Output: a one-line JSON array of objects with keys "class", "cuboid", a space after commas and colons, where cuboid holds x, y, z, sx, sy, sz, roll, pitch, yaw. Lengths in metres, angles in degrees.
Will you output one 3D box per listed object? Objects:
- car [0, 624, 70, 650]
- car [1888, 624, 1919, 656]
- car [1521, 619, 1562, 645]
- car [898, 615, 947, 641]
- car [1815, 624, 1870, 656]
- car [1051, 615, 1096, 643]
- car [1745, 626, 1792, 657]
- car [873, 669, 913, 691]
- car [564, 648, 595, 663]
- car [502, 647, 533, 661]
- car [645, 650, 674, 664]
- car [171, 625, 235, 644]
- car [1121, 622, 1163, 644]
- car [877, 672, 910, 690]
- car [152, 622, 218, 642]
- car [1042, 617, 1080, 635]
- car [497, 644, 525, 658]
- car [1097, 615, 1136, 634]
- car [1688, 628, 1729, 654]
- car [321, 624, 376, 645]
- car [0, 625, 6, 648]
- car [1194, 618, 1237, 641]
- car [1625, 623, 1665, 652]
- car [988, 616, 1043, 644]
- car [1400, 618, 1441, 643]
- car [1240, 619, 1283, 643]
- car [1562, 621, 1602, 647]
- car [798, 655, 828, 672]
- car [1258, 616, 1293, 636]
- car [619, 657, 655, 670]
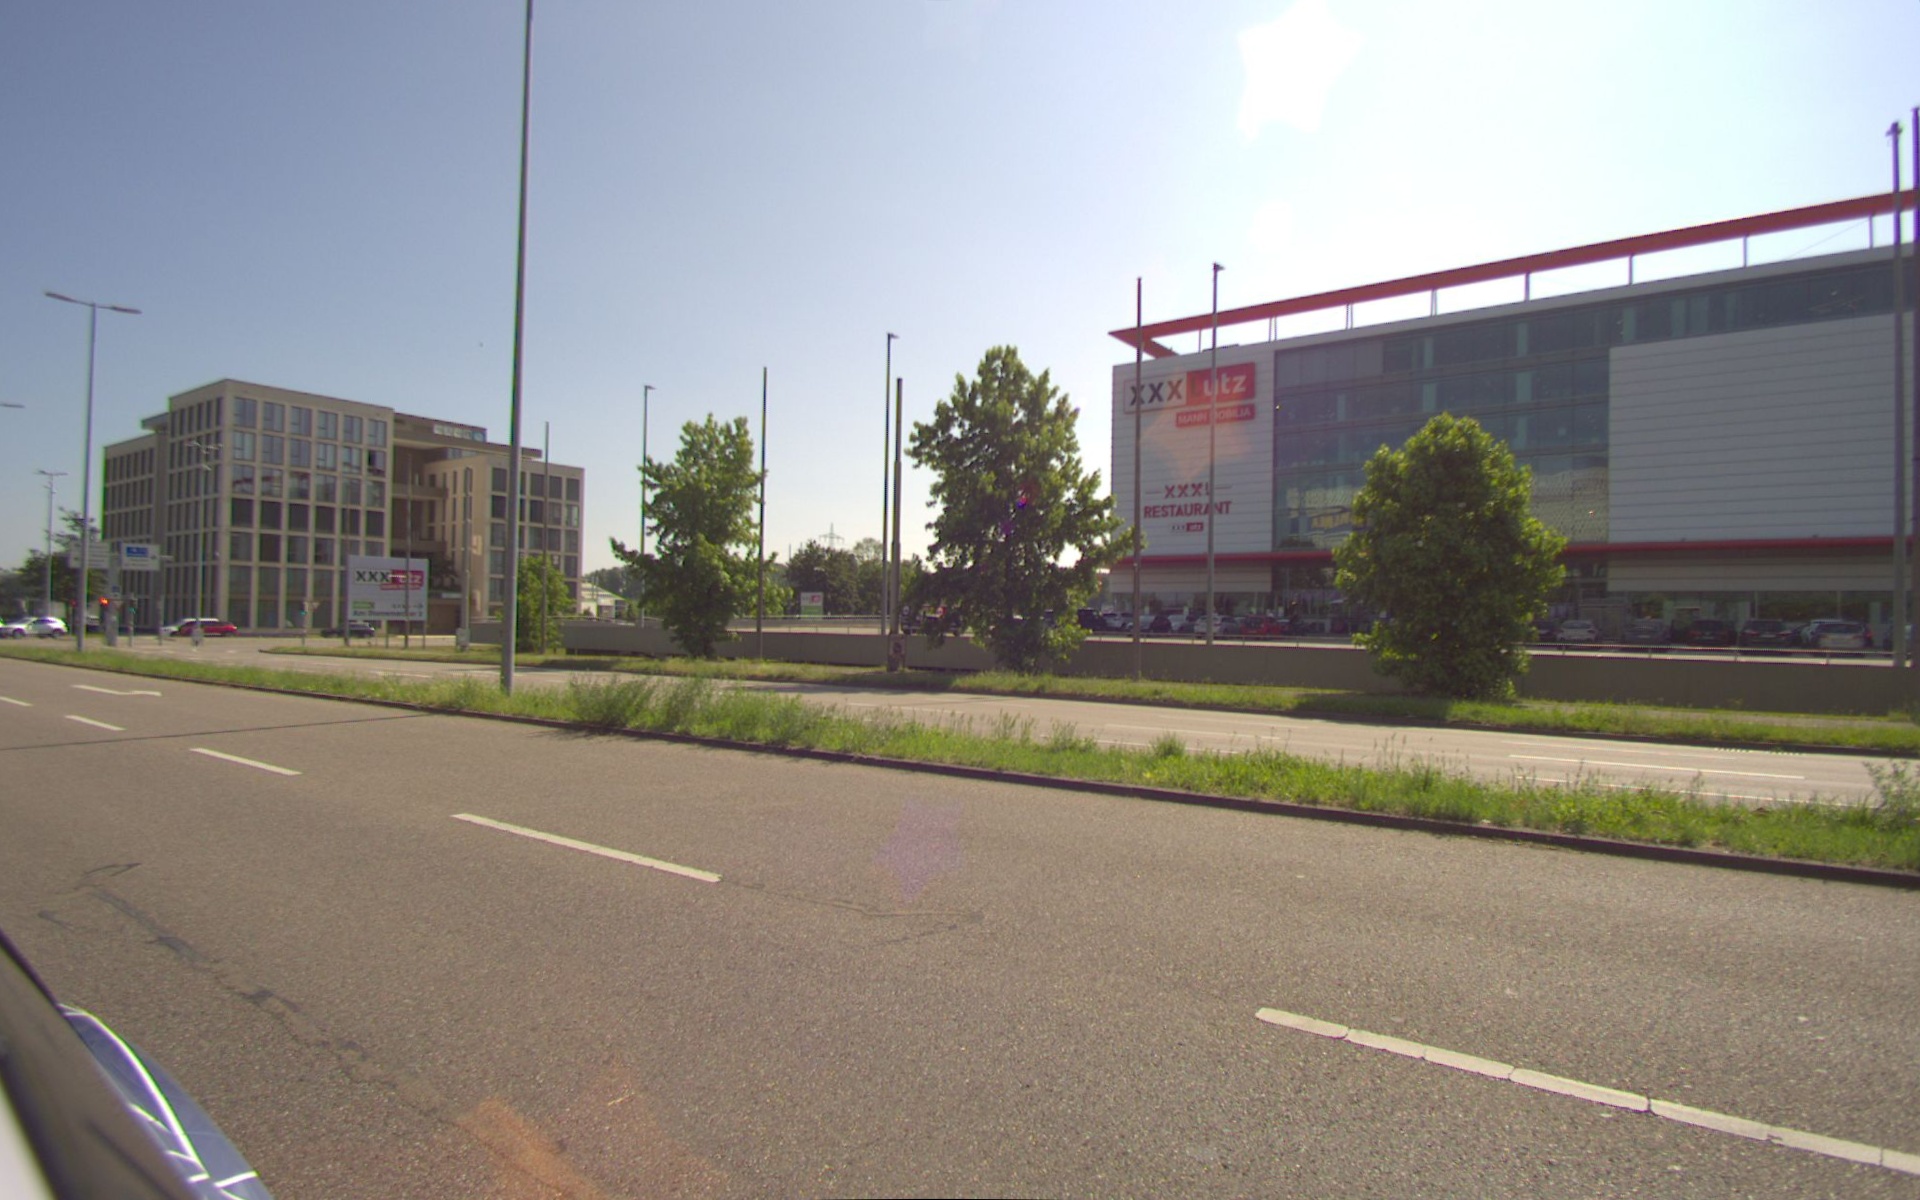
[{"class": "car", "cuboid": [-70.131, 2.789, 76.145, 2.016, 1.852, 4.272, 1, -1, 27]}, {"class": "car", "cuboid": [40.816, 1.710, 43.134, 1.513, 1.340, 3.060, 0, -1, 36]}, {"class": "car", "cuboid": [32.171, 1.763, 55.936, 1.626, 1.340, 3.632, 0, -1, 36]}, {"class": "car", "cuboid": [-2.317, 1.743, 62.729, 1.770, 1.568, 2.742, -2, -3, 36]}, {"class": "car", "cuboid": [38.924, 1.739, 44.688, 1.513, 1.340, 3.060, 0, -1, 36]}, {"class": "car", "cuboid": [7.675, 1.951, 68.250, 1.689, 1.771, 3.060, 0, -1, 36]}, {"class": "car", "cuboid": [36.603, 1.852, 45.882, 1.513, 1.303, 3.060, 0, -1, 36]}, {"class": "car", "cuboid": [-3.370, 4.044, 51.314, 1.068, 0.983, 1.920, 0, -1, 34]}, {"class": "car", "cuboid": [-25.968, 3.794, 69.047, 0.864, 0.983, 1.827, 0, -1, 34]}, {"class": "car", "cuboid": [-32.351, 3.928, 74.061, 0.888, 0.983, 1.919, -4, -4, 36]}, {"class": "car", "cuboid": [-21.993, 4.153, 74.043, 0.885, 0.983, 1.920, 0, -1, 35]}, {"class": "car", "cuboid": [-64.623, 2.938, 86.408, 1.527, 1.539, 4.071, -1, -2, 34]}, {"class": "car", "cuboid": [11.736, 2.098, 65.096, 1.513, 1.340, 3.060, 0, -1, 36]}, {"class": "car", "cuboid": [-4.106, 4.962, 62.282, 1.068, 0.983, 1.921, 0, -1, 33]}, {"class": "car", "cuboid": [-67.678, 2.823, 88.381, 1.900, 1.724, 4.181, -1, -2, 34]}, {"class": "car", "cuboid": [7.529, 1.939, 75.519, 1.513, 1.340, 2.984, 0, -1, 36]}, {"class": "car", "cuboid": [-28.938, 3.288, 65.249, 0.790, 0.889, 1.488, 0, -1, 34]}, {"class": "car", "cuboid": [11.205, 1.766, 72.329, 1.513, 1.340, 3.060, 0, -1, 36]}, {"class": "car", "cuboid": [38.183, 2.084, 51.662, 1.603, 1.237, 3.060, 0, -1, 36]}, {"class": "car", "cuboid": [-59.597, 3.368, 98.752, 1.832, 1.903, 4.190, 0, -1, 37]}, {"class": "car", "cuboid": [-73.724, 2.720, 75.193, 1.817, 1.725, 3.748, 1, -1, 15]}, {"class": "car", "cuboid": [15.704, 1.795, 62.094, 1.513, 1.340, 3.185, 0, -1, 36]}, {"class": "car", "cuboid": [33.167, 1.814, 48.994, 1.513, 1.340, 3.060, 0, -1, 36]}, {"class": "car", "cuboid": [2.221, 1.198, 40.227, 1.068, 1.067, 2.492, 0, -1, 34]}, {"class": "car", "cuboid": [25.371, 1.665, 55.746, 1.513, 1.340, 3.060, 0, -1, 36]}, {"class": "car", "cuboid": [18.296, 1.880, 61.346, 1.513, 1.340, 3.185, 0, -1, 36]}, {"class": "car", "cuboid": [31.153, 1.697, 50.677, 1.477, 1.208, 3.468, 0, -1, 36]}, {"class": "car", "cuboid": [-9.619, 4.168, 66.425, 0.908, 0.983, 1.920, 0, -1, 34]}, {"class": "car", "cuboid": [22.838, 1.883, 73.272, 1.513, 1.340, 3.060, 0, -1, 36]}, {"class": "car", "cuboid": [-20.653, 4.054, 64.762, 0.905, 0.739, 2.063, 0, -1, 34]}]
